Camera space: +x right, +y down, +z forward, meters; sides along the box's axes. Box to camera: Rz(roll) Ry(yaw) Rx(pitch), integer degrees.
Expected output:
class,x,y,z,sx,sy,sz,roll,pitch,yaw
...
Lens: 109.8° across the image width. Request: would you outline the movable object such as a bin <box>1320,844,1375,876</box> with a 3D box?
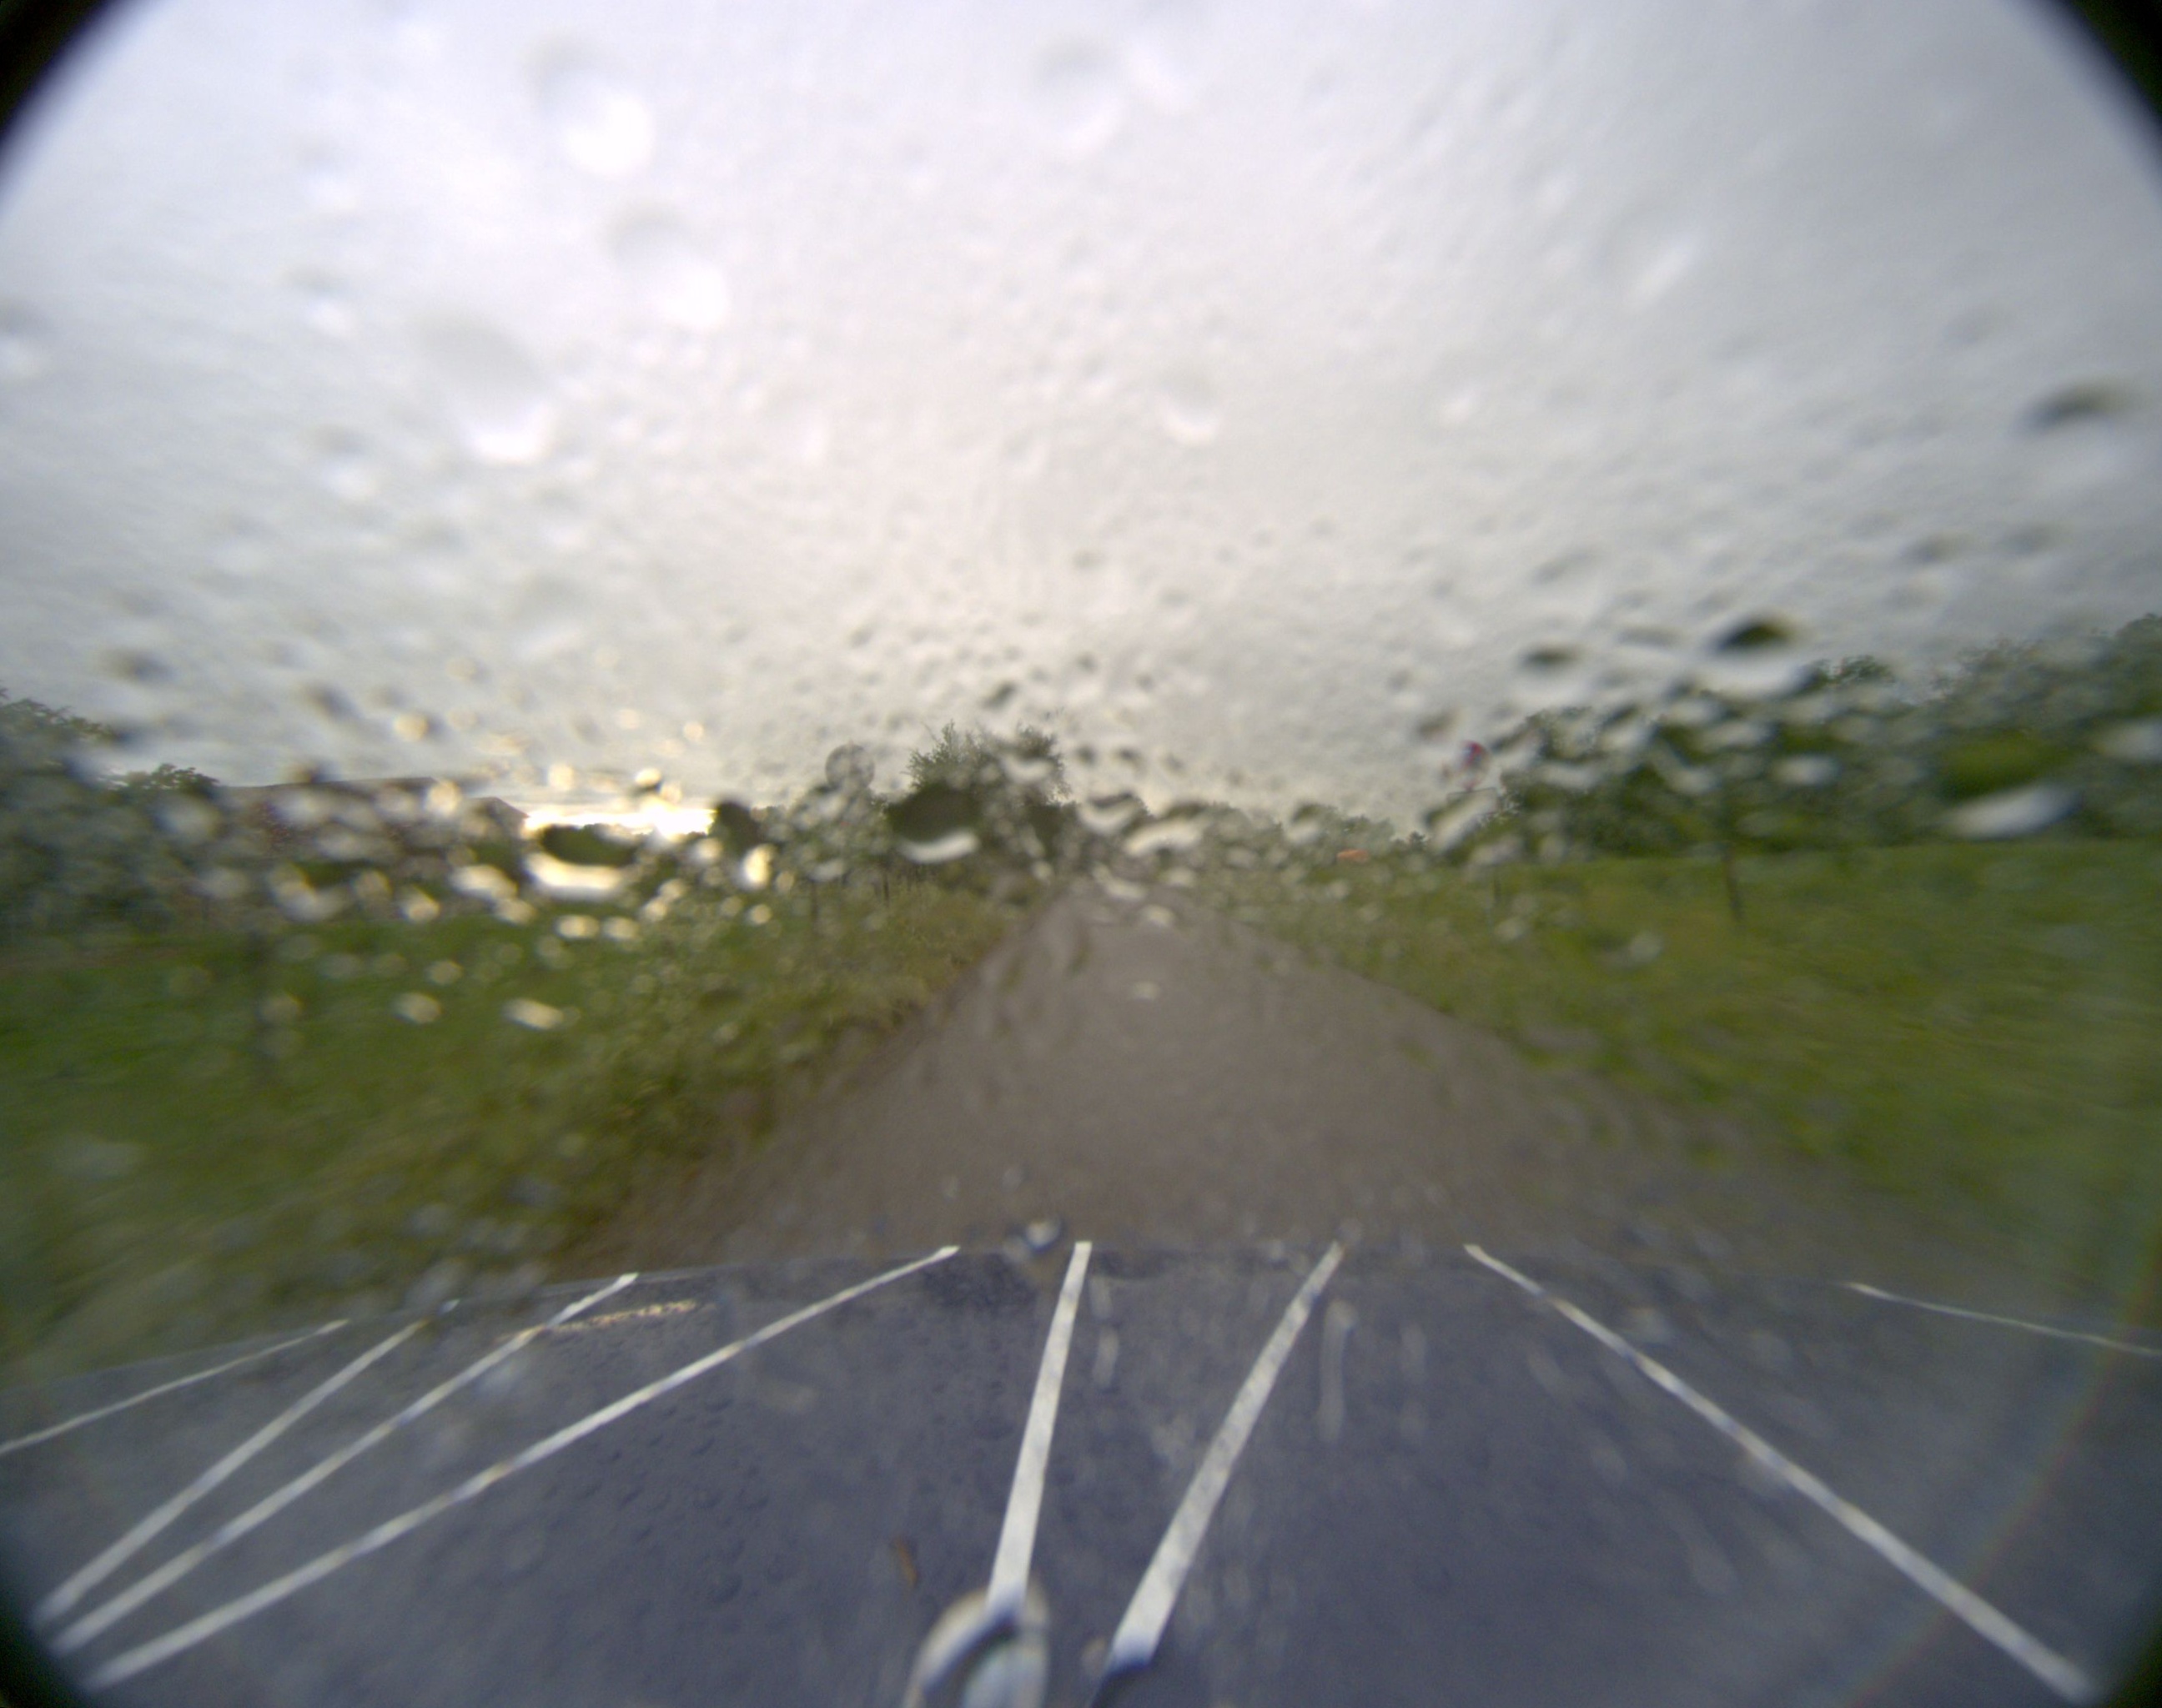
class,x,y,z,sx,sy,sz,roll,pitch,yaw
movable object such as a bin,14.337,0.295,41.037,1.683,1.562,3.538,-3,0,0
